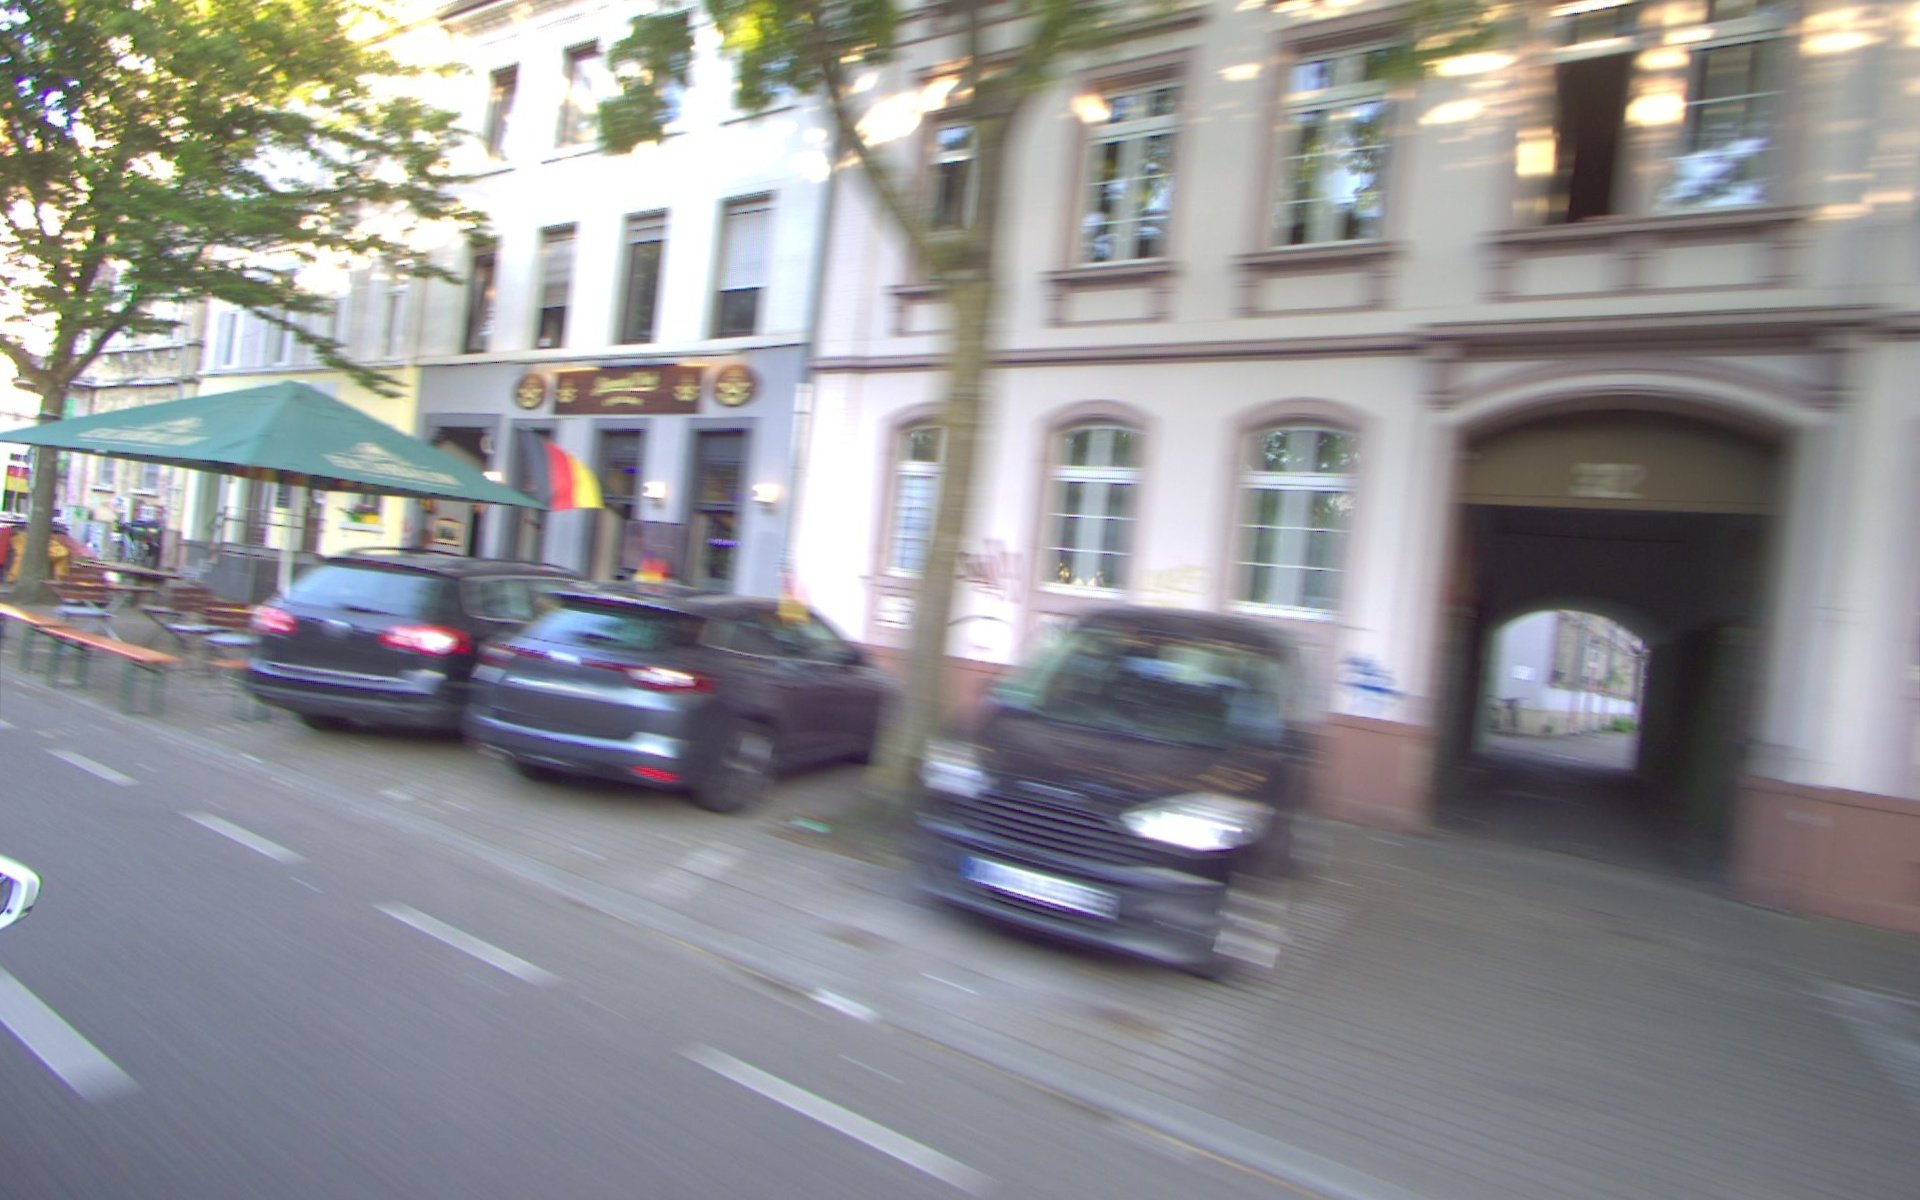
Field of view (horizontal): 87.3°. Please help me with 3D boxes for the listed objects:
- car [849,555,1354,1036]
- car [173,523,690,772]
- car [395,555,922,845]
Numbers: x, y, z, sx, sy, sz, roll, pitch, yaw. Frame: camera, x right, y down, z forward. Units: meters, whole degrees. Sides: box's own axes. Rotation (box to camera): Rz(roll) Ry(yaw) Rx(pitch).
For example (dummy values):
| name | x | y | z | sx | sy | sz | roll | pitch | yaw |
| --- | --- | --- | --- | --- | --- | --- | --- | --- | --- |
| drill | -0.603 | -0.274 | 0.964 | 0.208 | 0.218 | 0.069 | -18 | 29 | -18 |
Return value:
| name | x | y | z | sx | sy | sz | roll | pitch | yaw |
| --- | --- | --- | --- | --- | --- | --- | --- | --- | --- |
| car | 1.215 | 0.867 | 6.082 | 1.785 | 1.728 | 4.023 | 6 | -1 | 25 |
| car | -4.271 | 0.367 | 9.075 | 1.970 | 1.517 | 4.191 | 6 | 0 | 7 |
| car | -1.948 | 0.640 | 8.015 | 1.970 | 1.480 | 4.190 | 6 | 0 | 16 |
